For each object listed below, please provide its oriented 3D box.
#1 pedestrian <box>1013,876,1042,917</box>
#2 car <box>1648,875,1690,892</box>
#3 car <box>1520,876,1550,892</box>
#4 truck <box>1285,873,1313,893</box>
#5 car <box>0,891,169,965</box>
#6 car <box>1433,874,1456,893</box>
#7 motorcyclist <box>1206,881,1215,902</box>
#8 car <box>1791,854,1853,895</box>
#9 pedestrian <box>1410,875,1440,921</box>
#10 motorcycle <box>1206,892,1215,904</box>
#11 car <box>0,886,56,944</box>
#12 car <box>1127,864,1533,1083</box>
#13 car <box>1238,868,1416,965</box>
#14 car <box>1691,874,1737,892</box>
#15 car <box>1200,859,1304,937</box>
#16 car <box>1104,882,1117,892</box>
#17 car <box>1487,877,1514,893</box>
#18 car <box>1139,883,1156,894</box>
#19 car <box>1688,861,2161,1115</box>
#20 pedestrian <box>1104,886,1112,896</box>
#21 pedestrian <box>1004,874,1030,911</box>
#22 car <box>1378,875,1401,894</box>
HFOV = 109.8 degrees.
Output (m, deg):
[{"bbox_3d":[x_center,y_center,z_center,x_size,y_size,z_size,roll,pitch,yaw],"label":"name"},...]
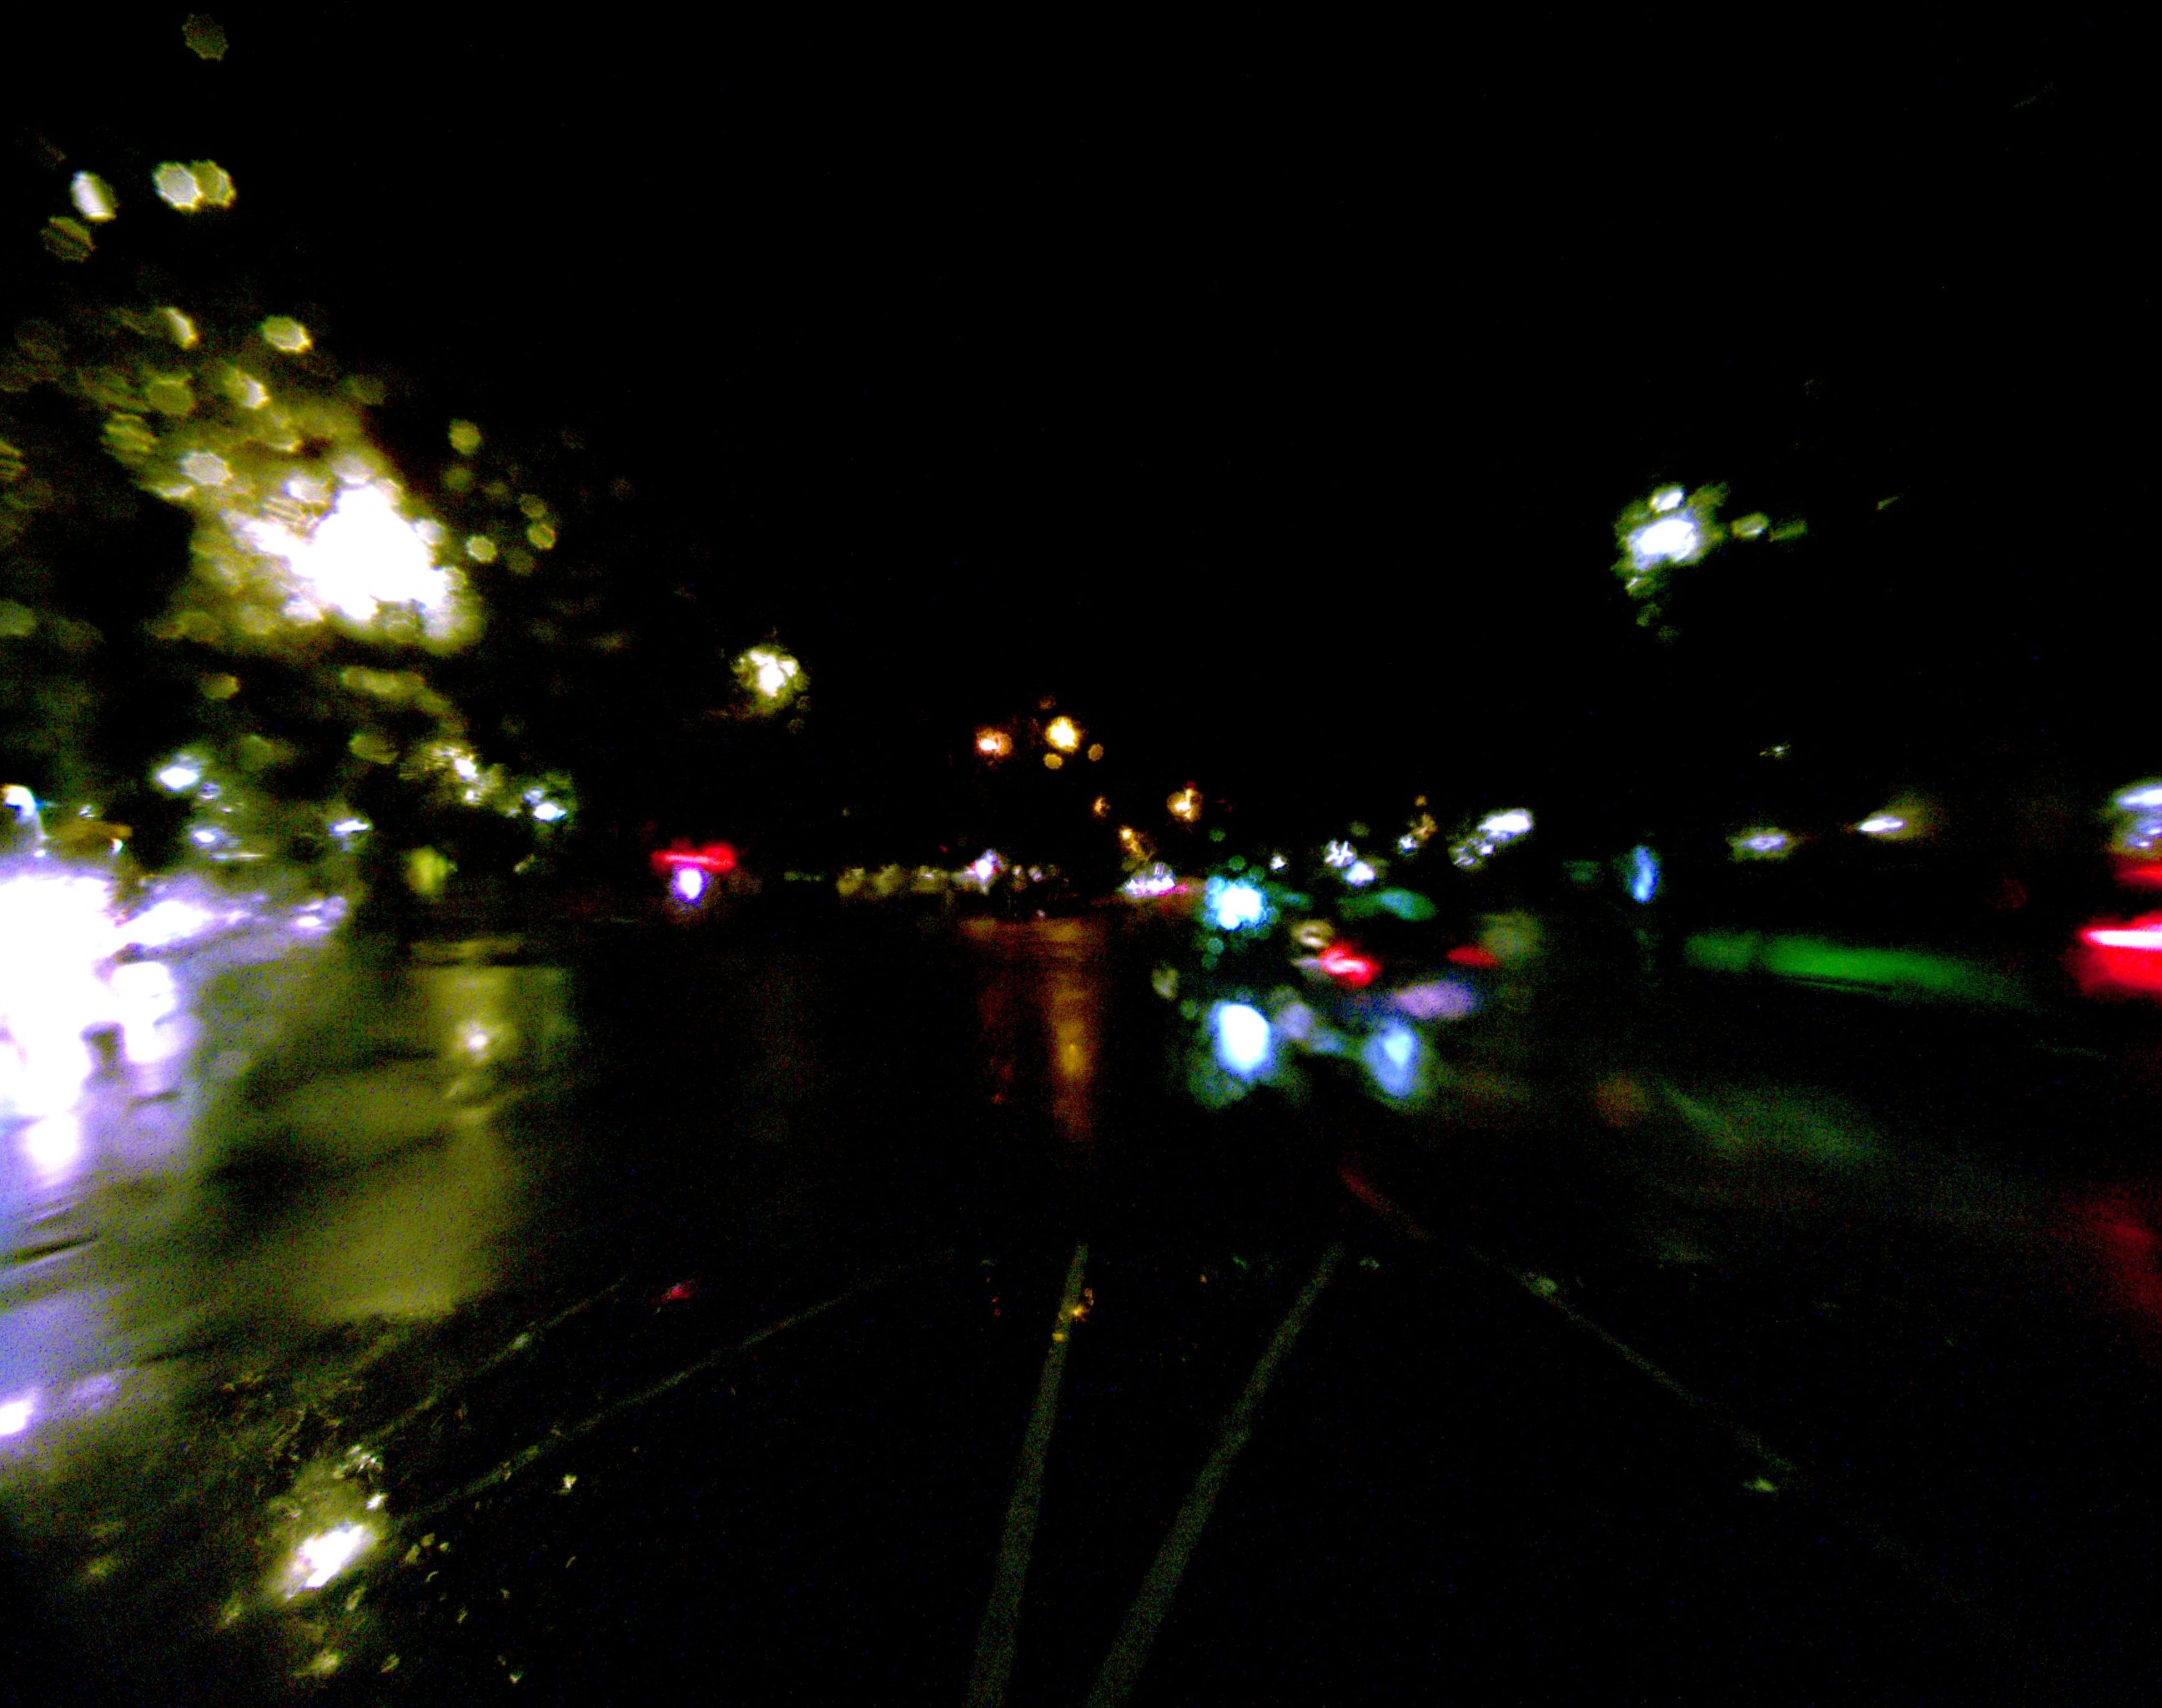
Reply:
[{"bbox_3d":[-2.358,1.885,33.710,1.109,1.814,0.852,0,-2,8],"label":"pedestrian"},{"bbox_3d":[50.950,2.531,65.940,1.866,1.434,4.503,-2,-2,24],"label":"car"},{"bbox_3d":[42.144,2.769,70.623,1.866,1.434,4.503,-2,-2,24],"label":"car"},{"bbox_3d":[22.657,3.025,78.766,2.125,2.001,5.273,-1,-3,24],"label":"truck"},{"bbox_3d":[-23.704,1.684,17.936,3.789,1.569,1.746,-1,-2,23],"label":"car"},{"bbox_3d":[35.007,2.852,73.286,1.866,1.749,4.503,-2,-2,24],"label":"car"},{"bbox_3d":[12.515,3.599,73.465,0.694,2.001,0.983,0,-2,5],"label":"motorcyclist"},{"bbox_3d":[51.768,1.428,53.177,1.715,2.714,4.364,-2,-2,25],"label":"car"},{"bbox_3d":[13.121,1.654,28.962,0.769,1.725,0.972,-2,-2,39],"label":"pedestrian"},{"bbox_3d":[12.513,4.231,73.401,0.702,1.131,2.177,0,-2,5],"label":"motorcycle"},{"bbox_3d":[-30.906,1.713,21.445,3.720,1.569,1.695,-2,-2,26],"label":"car"},{"bbox_3d":[2.038,0.910,7.517,1.714,1.533,3.983,0,-2,-20],"label":"car"},{"bbox_3d":[4.413,1.069,14.487,1.822,1.533,4.727,0,-2,0],"label":"car"},{"bbox_3d":[53.688,2.430,64.526,1.866,1.434,4.503,-2,-2,24],"label":"car"},{"bbox_3d":[4.692,1.232,21.640,2.038,1.941,5.204,0,-3,3],"label":"car"},{"bbox_3d":[4.776,5.382,123.285,1.826,1.521,4.786,0,-2,5],"label":"car"},{"bbox_3d":[39.776,2.914,72.131,1.866,1.434,4.503,-2,-2,24],"label":"car"},{"bbox_3d":[9.027,4.690,104.007,1.857,1.490,4.771,0,-3,-1],"label":"car"},{"bbox_3d":[7.293,0.824,6.107,1.767,1.477,4.063,-1,-2,4],"label":"car"},{"bbox_3d":[4.203,5.842,119.509,1.051,1.565,1.019,-2,-2,11],"label":"pedestrian"},{"bbox_3d":[-3.149,1.897,37.350,1.109,1.814,0.852,0,-2,6],"label":"pedestrian"},{"bbox_3d":[30.587,2.990,75.315,1.866,1.783,4.503,-2,-2,24],"label":"car"}]
